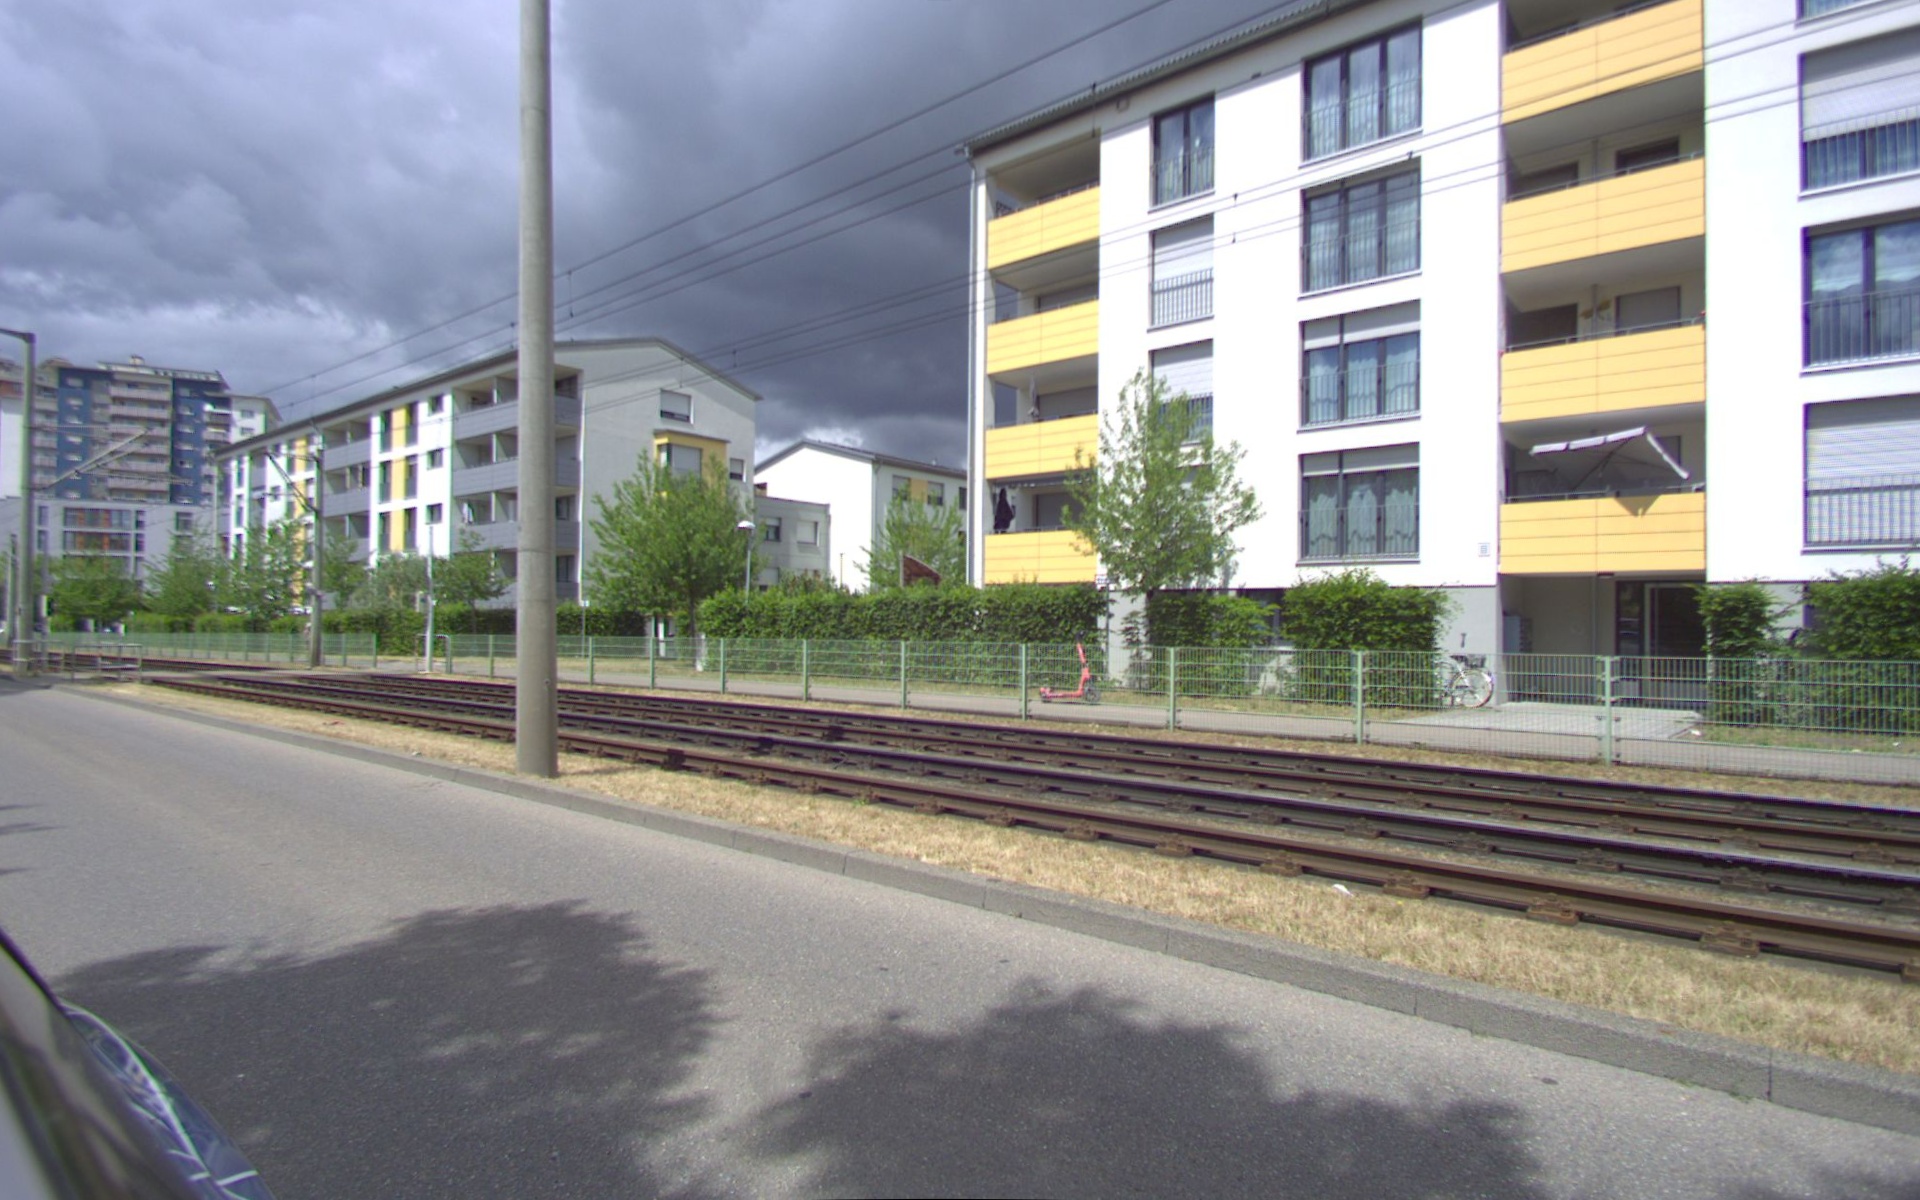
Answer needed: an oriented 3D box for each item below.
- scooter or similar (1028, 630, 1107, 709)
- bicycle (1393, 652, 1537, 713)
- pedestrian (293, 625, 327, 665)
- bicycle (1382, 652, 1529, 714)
[{"bbox_3d":[1.831,1.171,17.308,1.301,1.303,0.485,-2,-2,41],"label":"scooter or similar"},{"bbox_3d":[8.891,1.426,17.898,2.212,0.987,0.549,-2,-2,42],"label":"bicycle"},{"bbox_3d":[-24.343,1.672,37.891,0.994,1.494,0.788,-2,-2,38],"label":"pedestrian"},{"bbox_3d":[8.543,1.407,17.517,2.212,0.987,0.549,-2,-2,42],"label":"bicycle"}]
